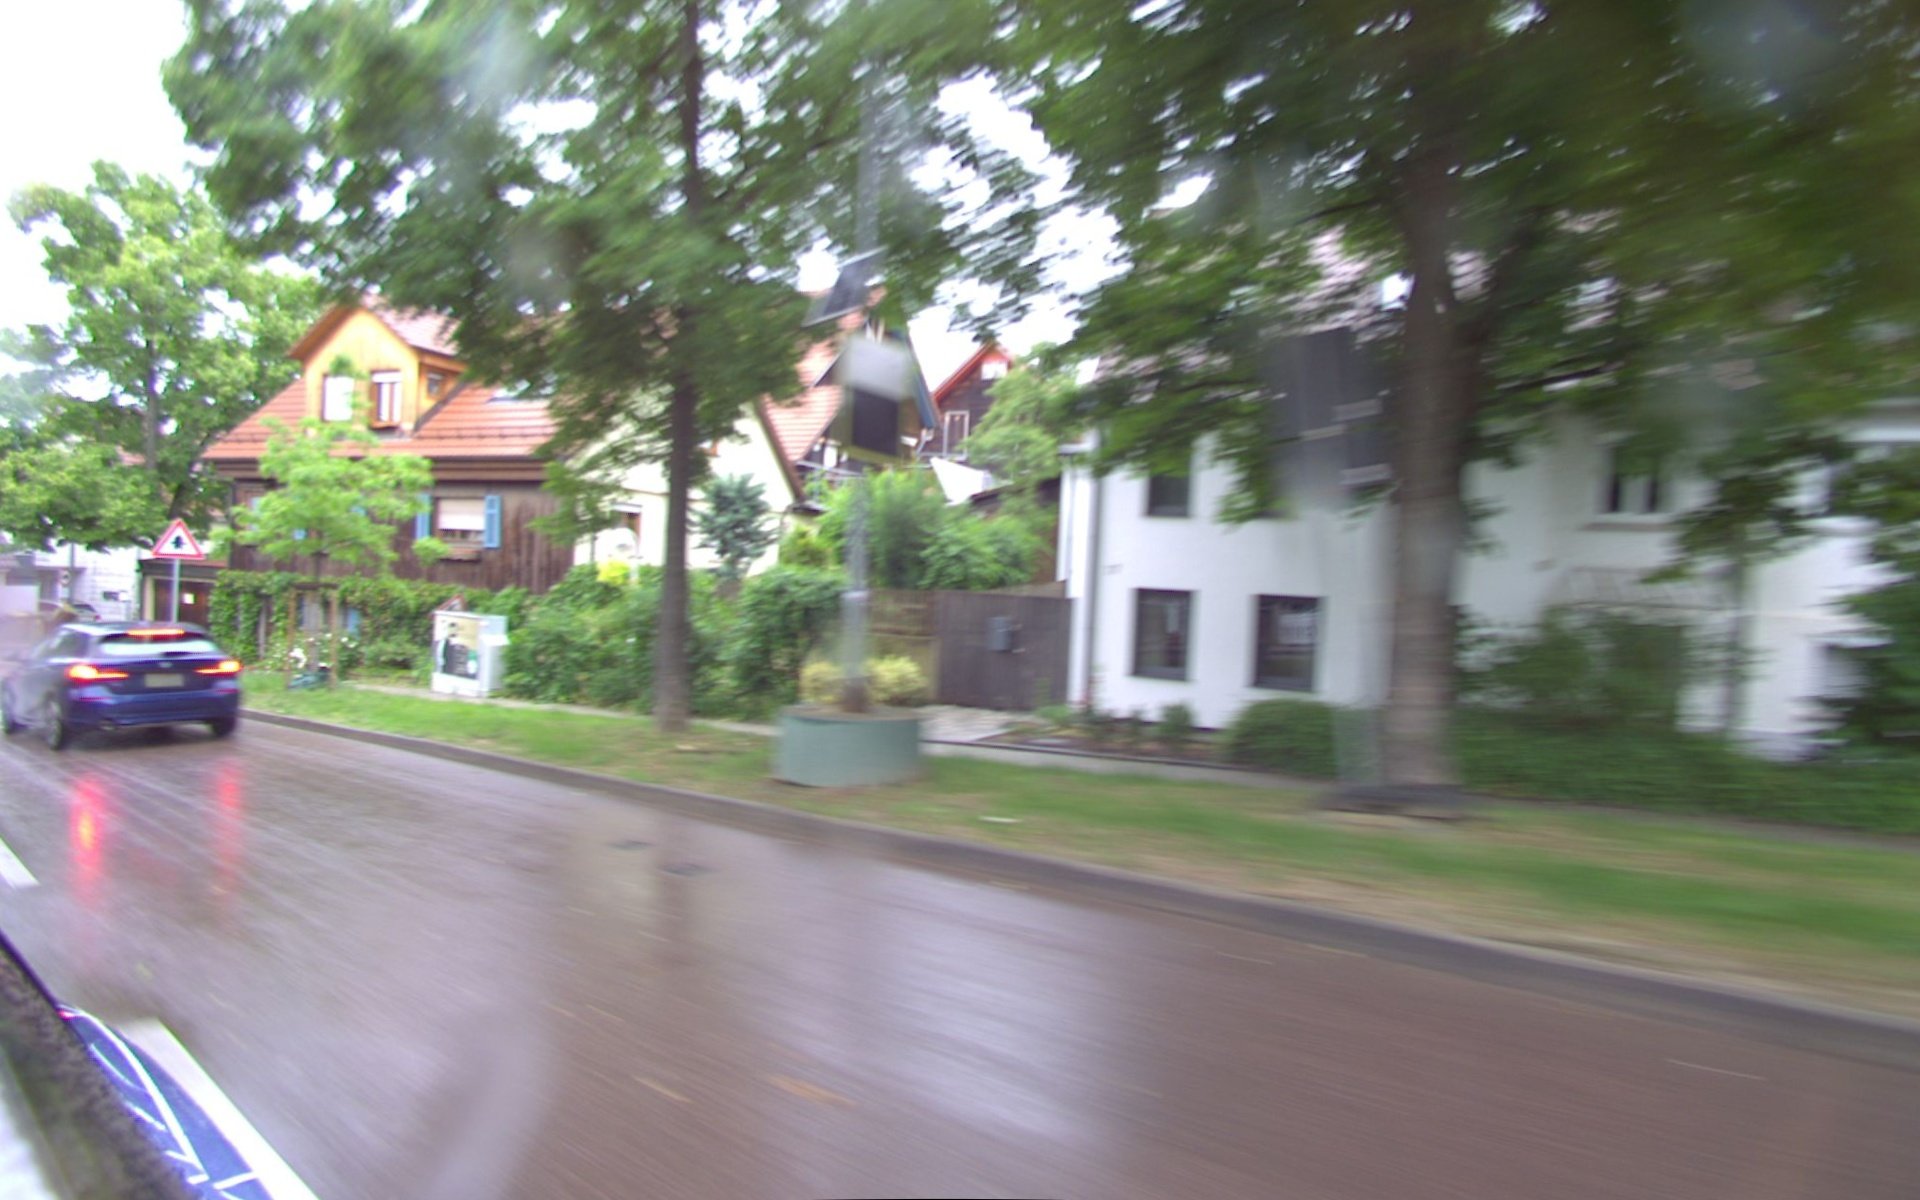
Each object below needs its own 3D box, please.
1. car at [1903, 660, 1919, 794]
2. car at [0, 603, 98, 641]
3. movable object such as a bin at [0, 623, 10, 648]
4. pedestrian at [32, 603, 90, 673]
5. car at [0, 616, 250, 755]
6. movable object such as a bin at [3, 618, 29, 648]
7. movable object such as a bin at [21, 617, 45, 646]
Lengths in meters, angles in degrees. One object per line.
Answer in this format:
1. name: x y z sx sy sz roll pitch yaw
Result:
1. car: 10.960 1.269 8.886 3.428 1.339 1.983 -1 -1 26
2. car: -38.139 0.916 41.951 3.961 1.544 1.719 -1 -1 14
3. movable object such as a bin: -36.807 1.363 38.703 0.496 0.947 0.515 -1 -1 15
4. pedestrian: -24.219 0.999 27.276 0.892 1.844 0.960 -1 -1 32
5. car: -10.701 0.955 12.660 4.055 1.451 1.749 -1 -1 36
6. movable object such as a bin: -36.607 1.273 39.238 0.512 1.132 0.543 -1 -1 15
7. movable object such as a bin: -36.438 1.237 39.786 0.513 1.132 0.527 -1 -1 15
